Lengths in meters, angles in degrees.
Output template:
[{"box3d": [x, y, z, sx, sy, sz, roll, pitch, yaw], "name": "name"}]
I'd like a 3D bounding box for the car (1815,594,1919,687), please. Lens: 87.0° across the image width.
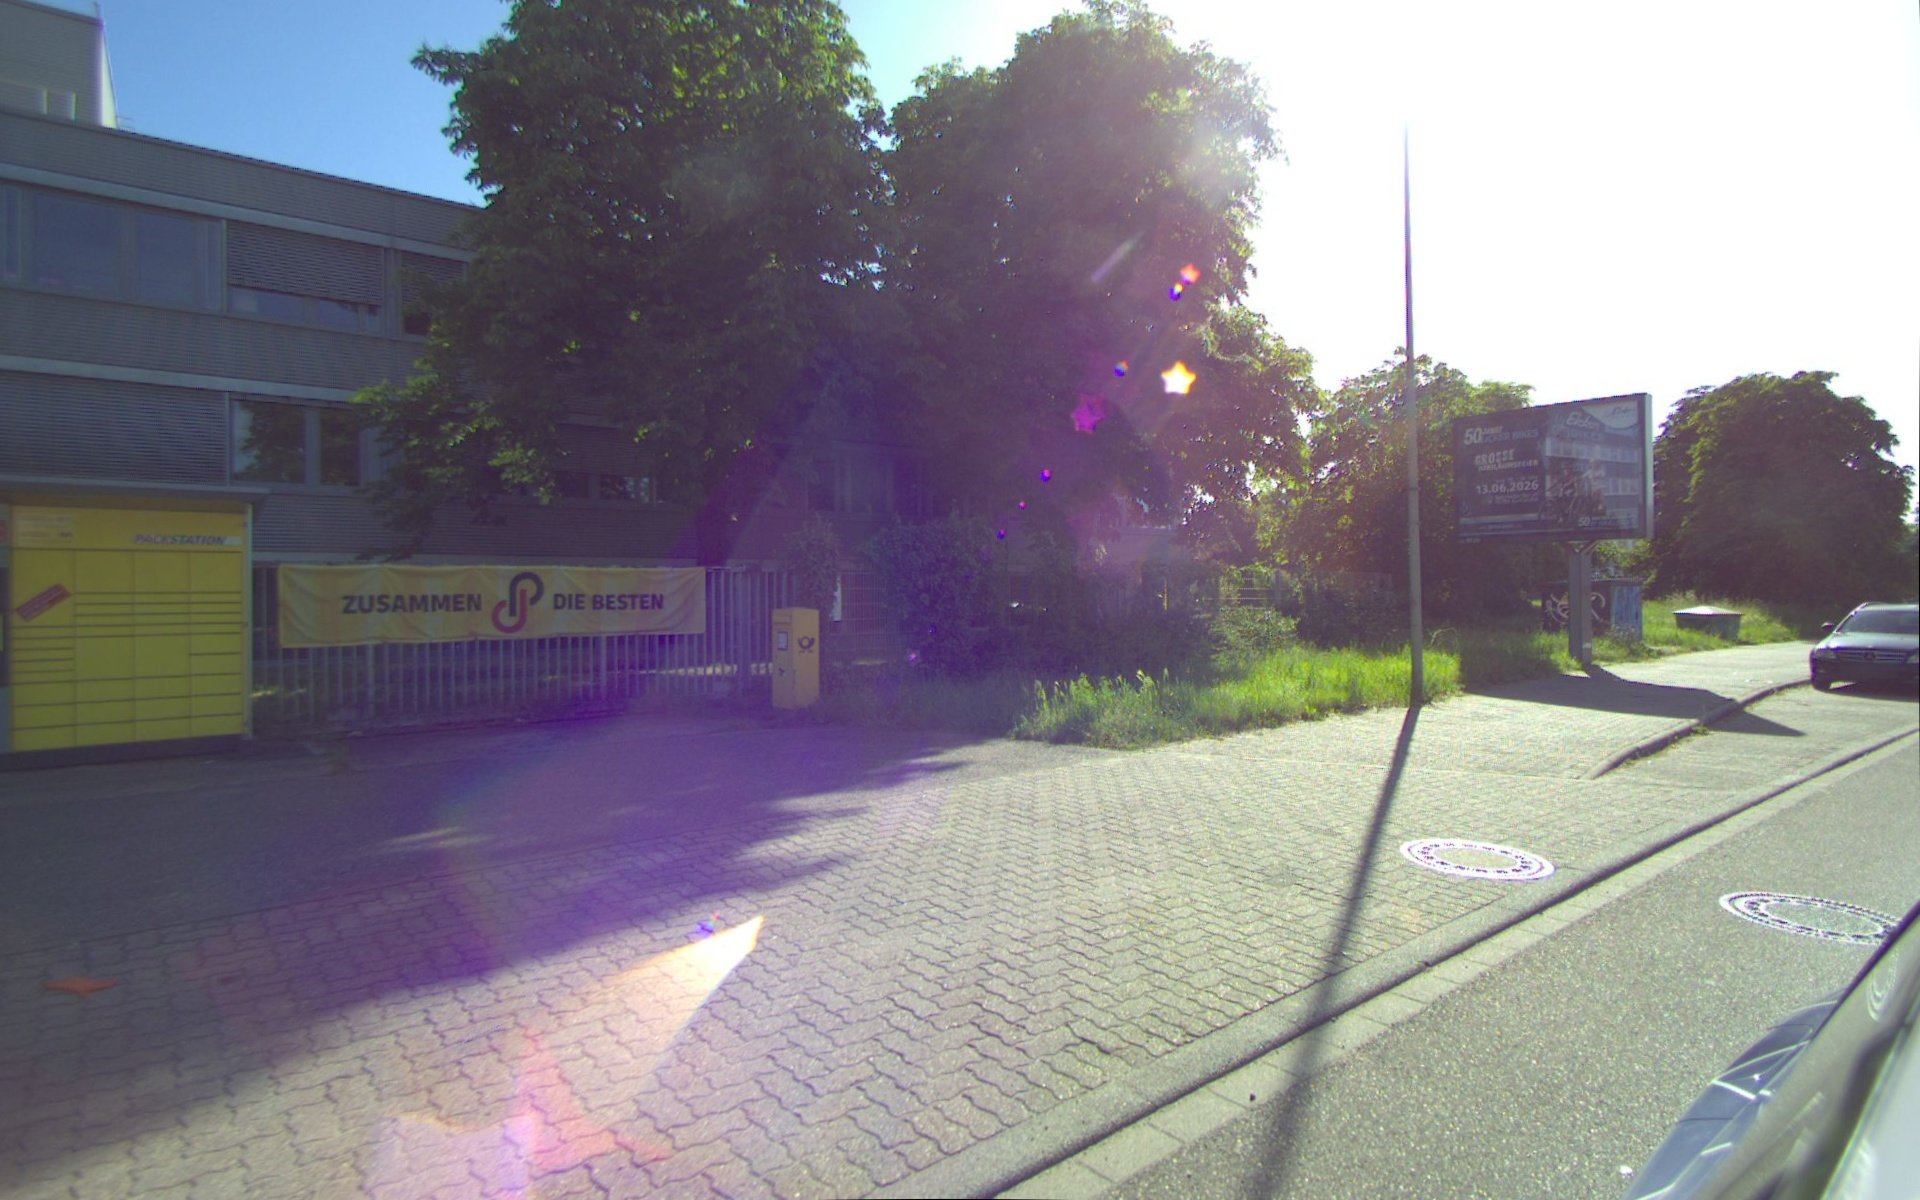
[{"box3d": [16.498, 0.622, 17.410, 4.342, 1.437, 1.813, 0, 0, -37], "name": "car"}]
